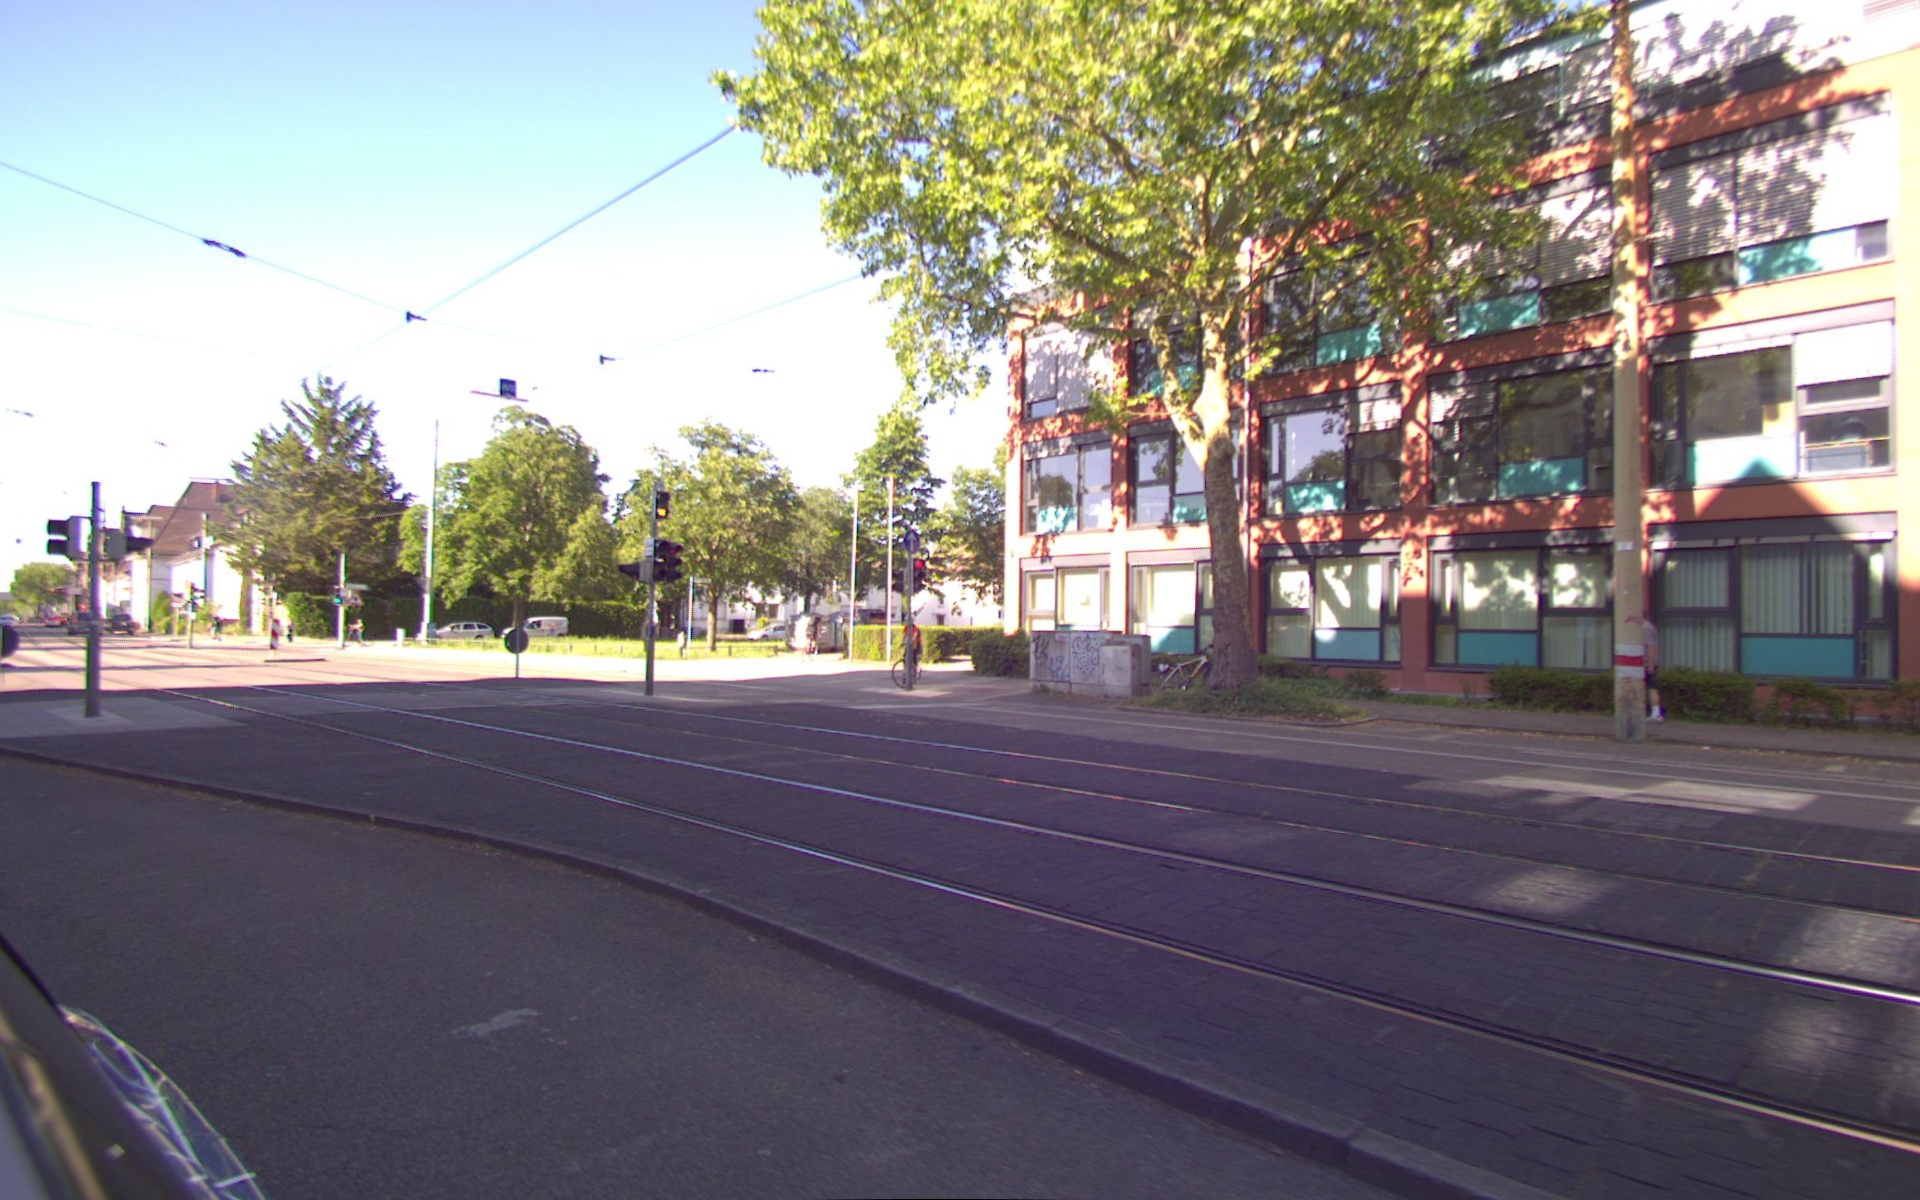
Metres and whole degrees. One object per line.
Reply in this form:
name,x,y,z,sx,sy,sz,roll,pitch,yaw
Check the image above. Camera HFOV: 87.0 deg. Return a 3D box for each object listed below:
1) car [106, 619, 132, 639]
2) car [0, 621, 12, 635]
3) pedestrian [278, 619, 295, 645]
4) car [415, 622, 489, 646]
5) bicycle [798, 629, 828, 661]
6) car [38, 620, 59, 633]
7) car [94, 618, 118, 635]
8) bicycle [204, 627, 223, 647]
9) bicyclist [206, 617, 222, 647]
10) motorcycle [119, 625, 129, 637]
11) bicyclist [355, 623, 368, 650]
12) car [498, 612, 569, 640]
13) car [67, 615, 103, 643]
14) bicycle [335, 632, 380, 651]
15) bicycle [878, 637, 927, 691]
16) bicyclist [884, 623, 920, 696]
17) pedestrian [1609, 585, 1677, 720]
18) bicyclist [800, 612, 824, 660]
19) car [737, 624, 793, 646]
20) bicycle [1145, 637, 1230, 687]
car,-83.899,2.849,100.913,1.895,1.915,4.006,-1,-1,-41
car,-119.003,3.473,125.521,1.895,1.728,4.006,-1,-1,-41
pedestrian,-41.872,1.990,62.931,0.615,1.568,0.679,-1,-1,-2
car,-32.534,2.179,64.799,3.935,1.444,1.820,2,-2,-38
bicycle,-5.157,1.547,35.401,0.636,1.050,1.931,-1,-1,-20
car,-121.217,3.527,134.631,1.895,1.728,4.007,-1,-1,-40
car,-94.034,2.902,111.426,1.896,1.728,4.004,-1,-1,-43
bicycle,-44.186,2.181,59.888,1.827,1.122,0.580,-2,-4,44
bicyclist,-44.108,1.889,59.820,0.901,1.724,0.580,-2,-4,44
motorcycle,-73.951,2.712,89.477,0.596,1.054,2.440,-1,-1,-41
bicyclist,-36.624,2.221,61.942,0.550,1.635,0.900,2,-2,-36
car,-29.791,1.815,70.757,4.248,1.881,1.819,1,-1,-41
car,-68.583,2.325,79.364,1.994,2.029,5.258,3,-5,-40
bicycle,-36.710,2.525,61.657,2.249,1.126,0.932,2,-2,-36
bicycle,-1.393,1.499,24.273,0.623,1.138,2.042,-2,1,-19
bicyclist,-1.392,1.409,24.285,0.596,1.705,0.935,-1,-1,-19
pedestrian,10.693,0.796,15.837,0.780,2.029,0.902,-2,-1,38
bicyclist,-5.188,1.257,35.445,0.636,1.624,0.783,-1,-1,-20
car,-15.981,2.895,82.960,4.136,1.756,1.819,2,-3,-41
bicycle,4.392,1.176,19.517,1.534,0.913,0.518,0,-2,23
